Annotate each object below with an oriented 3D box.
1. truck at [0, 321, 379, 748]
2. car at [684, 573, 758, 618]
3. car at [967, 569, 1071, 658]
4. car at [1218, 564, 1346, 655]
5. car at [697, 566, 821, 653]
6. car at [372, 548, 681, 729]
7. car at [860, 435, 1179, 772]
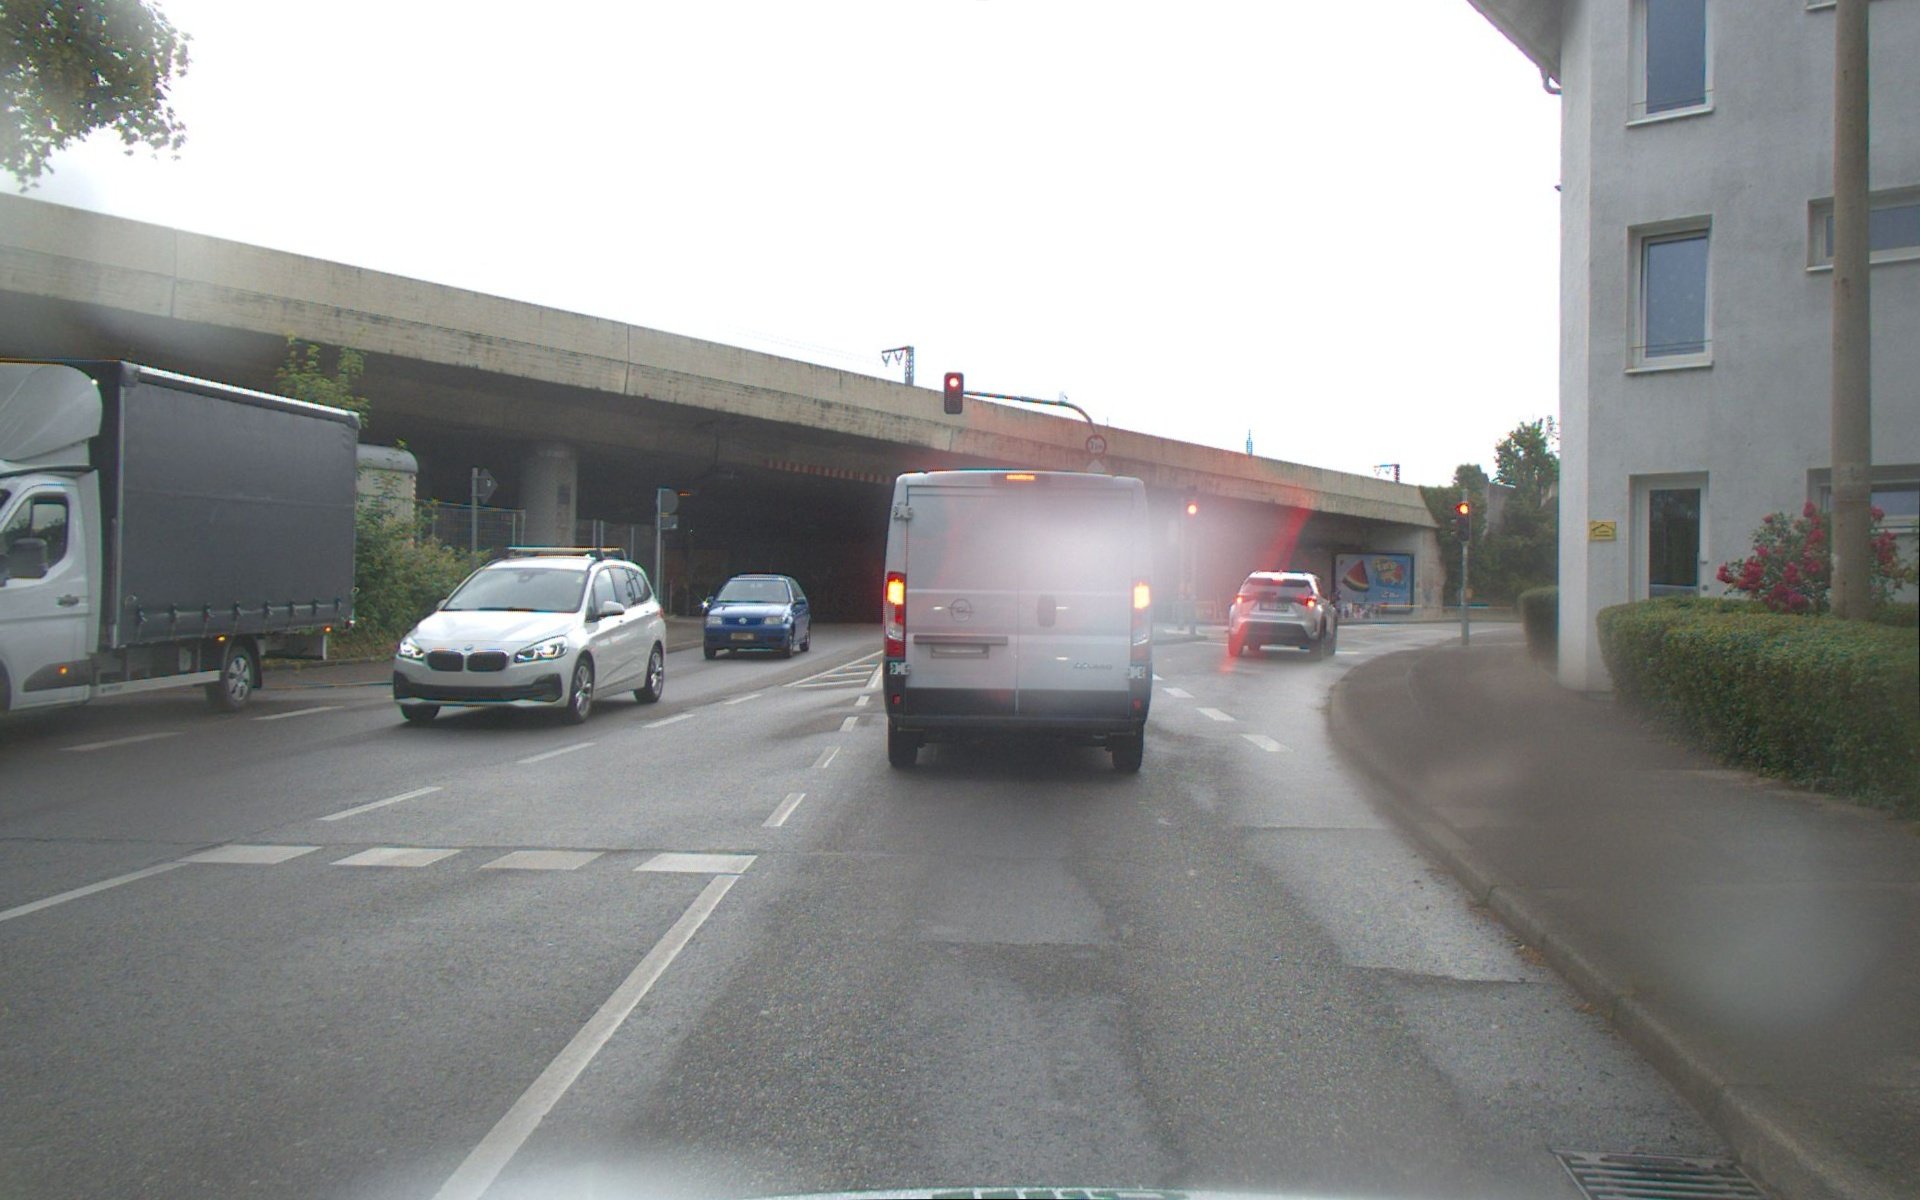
[{"bbox_3d":[-8.481,-0.535,15.819,2.555,3.293,7.780,1,0,4],"label":"truck"},{"bbox_3d":[-9.002,-0.194,61.997,1.815,1.596,4.385,1,1,-21],"label":"car"},{"bbox_3d":[1.323,0.289,35.421,1.951,1.759,4.002,1,0,5],"label":"car"},{"bbox_3d":[6.200,0.191,31.544,1.952,1.576,4.002,1,0,17],"label":"car"},{"bbox_3d":[-3.593,0.135,30.161,1.564,1.450,3.699,1,1,3],"label":"car"},{"bbox_3d":[-4.372,0.307,17.428,1.793,1.606,4.337,2,1,4],"label":"car"},{"bbox_3d":[0.532,-0.003,14.490,2.257,2.384,5.284,1,1,2],"label":"car"}]
